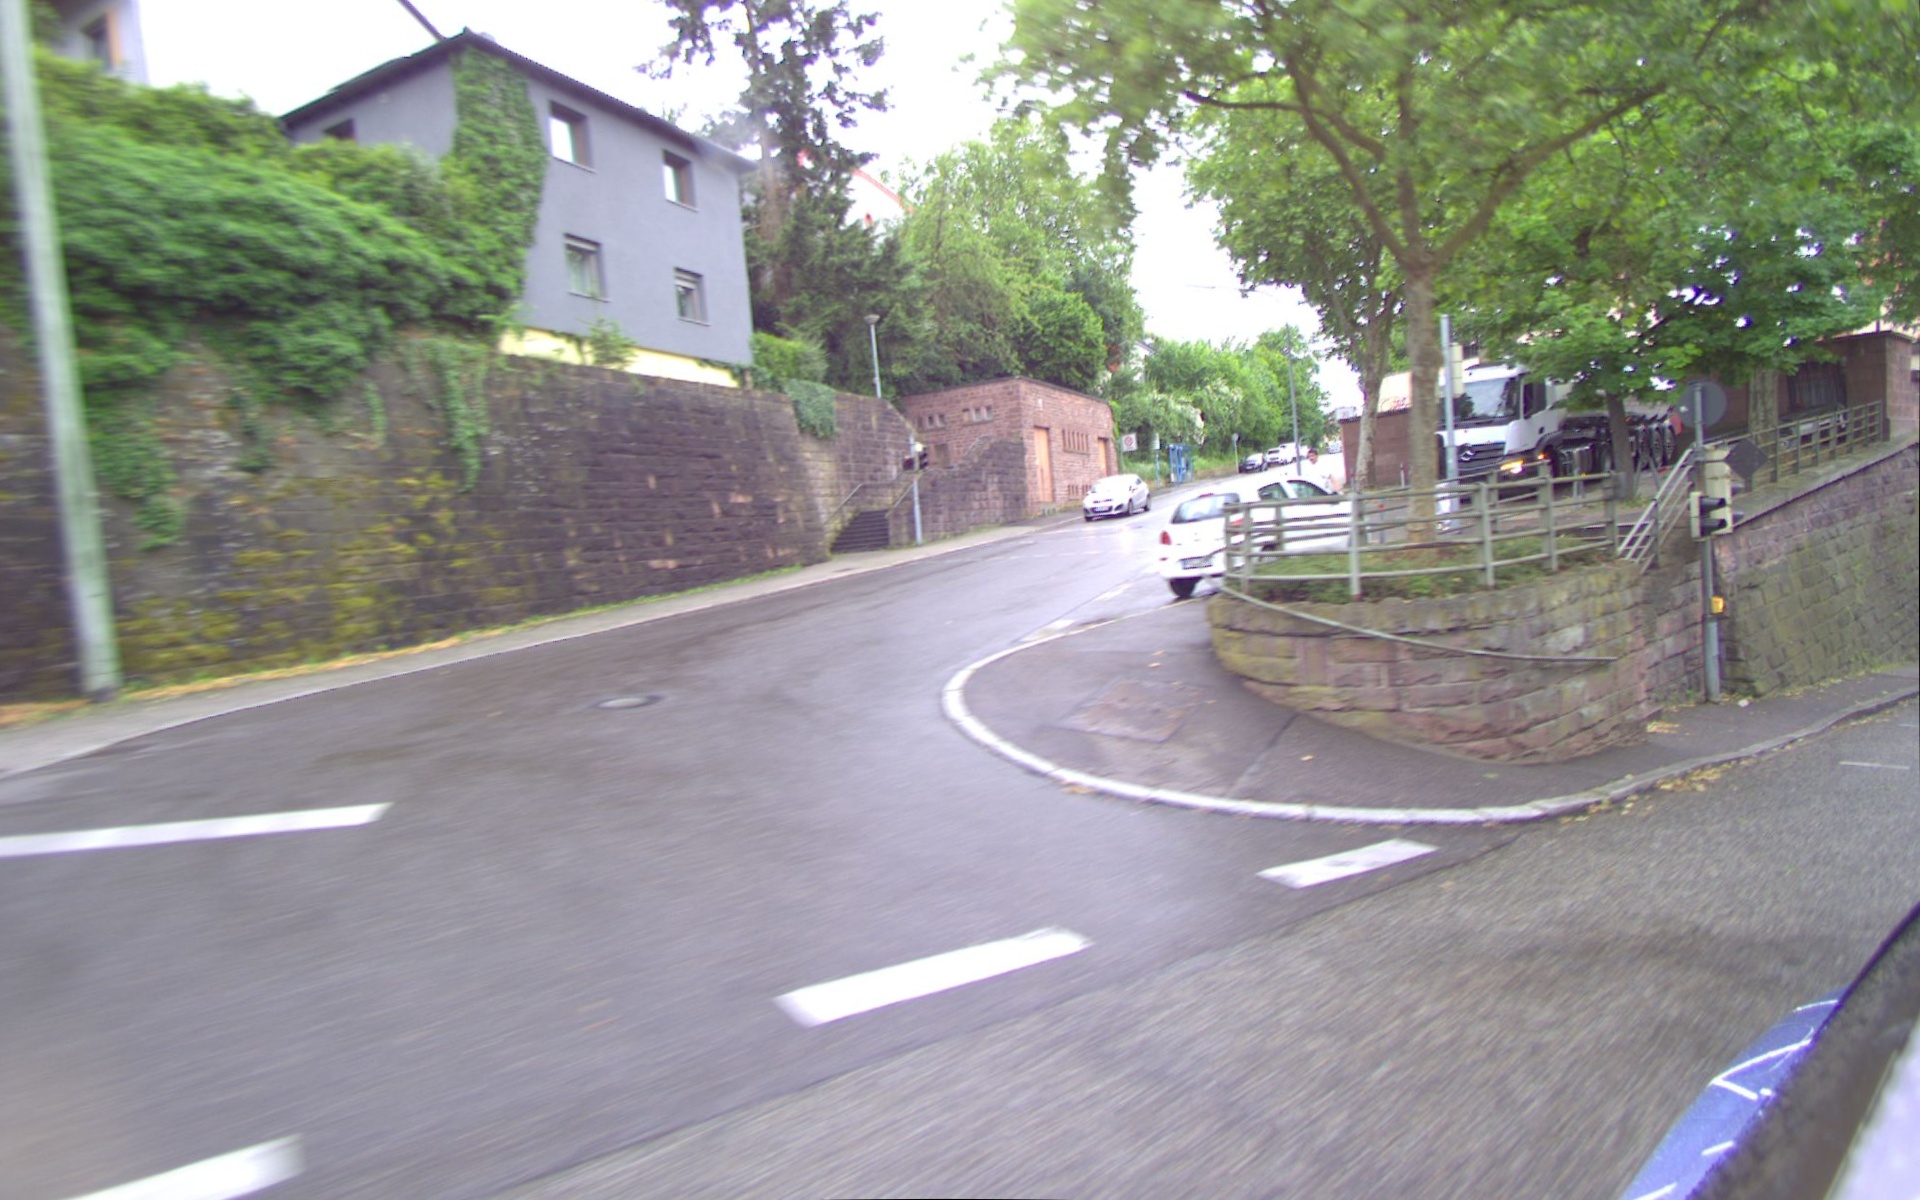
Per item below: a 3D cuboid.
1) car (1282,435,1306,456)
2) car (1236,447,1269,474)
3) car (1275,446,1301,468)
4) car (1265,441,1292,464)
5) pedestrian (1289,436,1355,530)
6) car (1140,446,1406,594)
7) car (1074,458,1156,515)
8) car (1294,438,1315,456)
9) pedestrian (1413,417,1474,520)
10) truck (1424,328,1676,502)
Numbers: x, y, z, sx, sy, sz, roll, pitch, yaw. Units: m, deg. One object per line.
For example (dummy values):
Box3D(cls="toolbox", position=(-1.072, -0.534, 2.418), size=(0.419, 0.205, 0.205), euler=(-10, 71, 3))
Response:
Box3D(cls="car", position=(34.155, -15.806, 103.457), size=(1.716, 1.656, 3.976), euler=(-5, 8, 26))
Box3D(cls="car", position=(23.014, -10.969, 79.578), size=(1.716, 1.656, 3.976), euler=(-5, 8, 26))
Box3D(cls="car", position=(31.718, -13.859, 97.774), size=(1.716, 1.656, 3.976), euler=(-5, 8, 26))
Box3D(cls="car", position=(29.316, -13.567, 92.998), size=(1.716, 1.656, 3.976), euler=(-5, 8, 26))
Box3D(cls="pedestrian", position=(6.883, -2.195, 19.236), size=(0.764, 1.697, 0.874), euler=(-4, 3, -35))
Box3D(cls="car", position=(4.729, -1.241, 14.963), size=(4.282, 1.508, 1.633), euler=(-13, 6, -40))
Box3D(cls="car", position=(5.686, -4.141, 36.686), size=(1.807, 1.534, 3.976), euler=(-4, 9, 26))
Box3D(cls="car", position=(39.946, -17.786, 117.218), size=(1.716, 1.656, 3.976), euler=(-5, 8, 26))
Box3D(cls="pedestrian", position=(8.509, -2.293, 17.839), size=(0.767, 1.697, 0.871), euler=(-1, 3, 12))
Box3D(cls="truck", position=(15.602, -4.991, 26.123), size=(2.749, 3.342, 11.075), euler=(1, 12, 45))
